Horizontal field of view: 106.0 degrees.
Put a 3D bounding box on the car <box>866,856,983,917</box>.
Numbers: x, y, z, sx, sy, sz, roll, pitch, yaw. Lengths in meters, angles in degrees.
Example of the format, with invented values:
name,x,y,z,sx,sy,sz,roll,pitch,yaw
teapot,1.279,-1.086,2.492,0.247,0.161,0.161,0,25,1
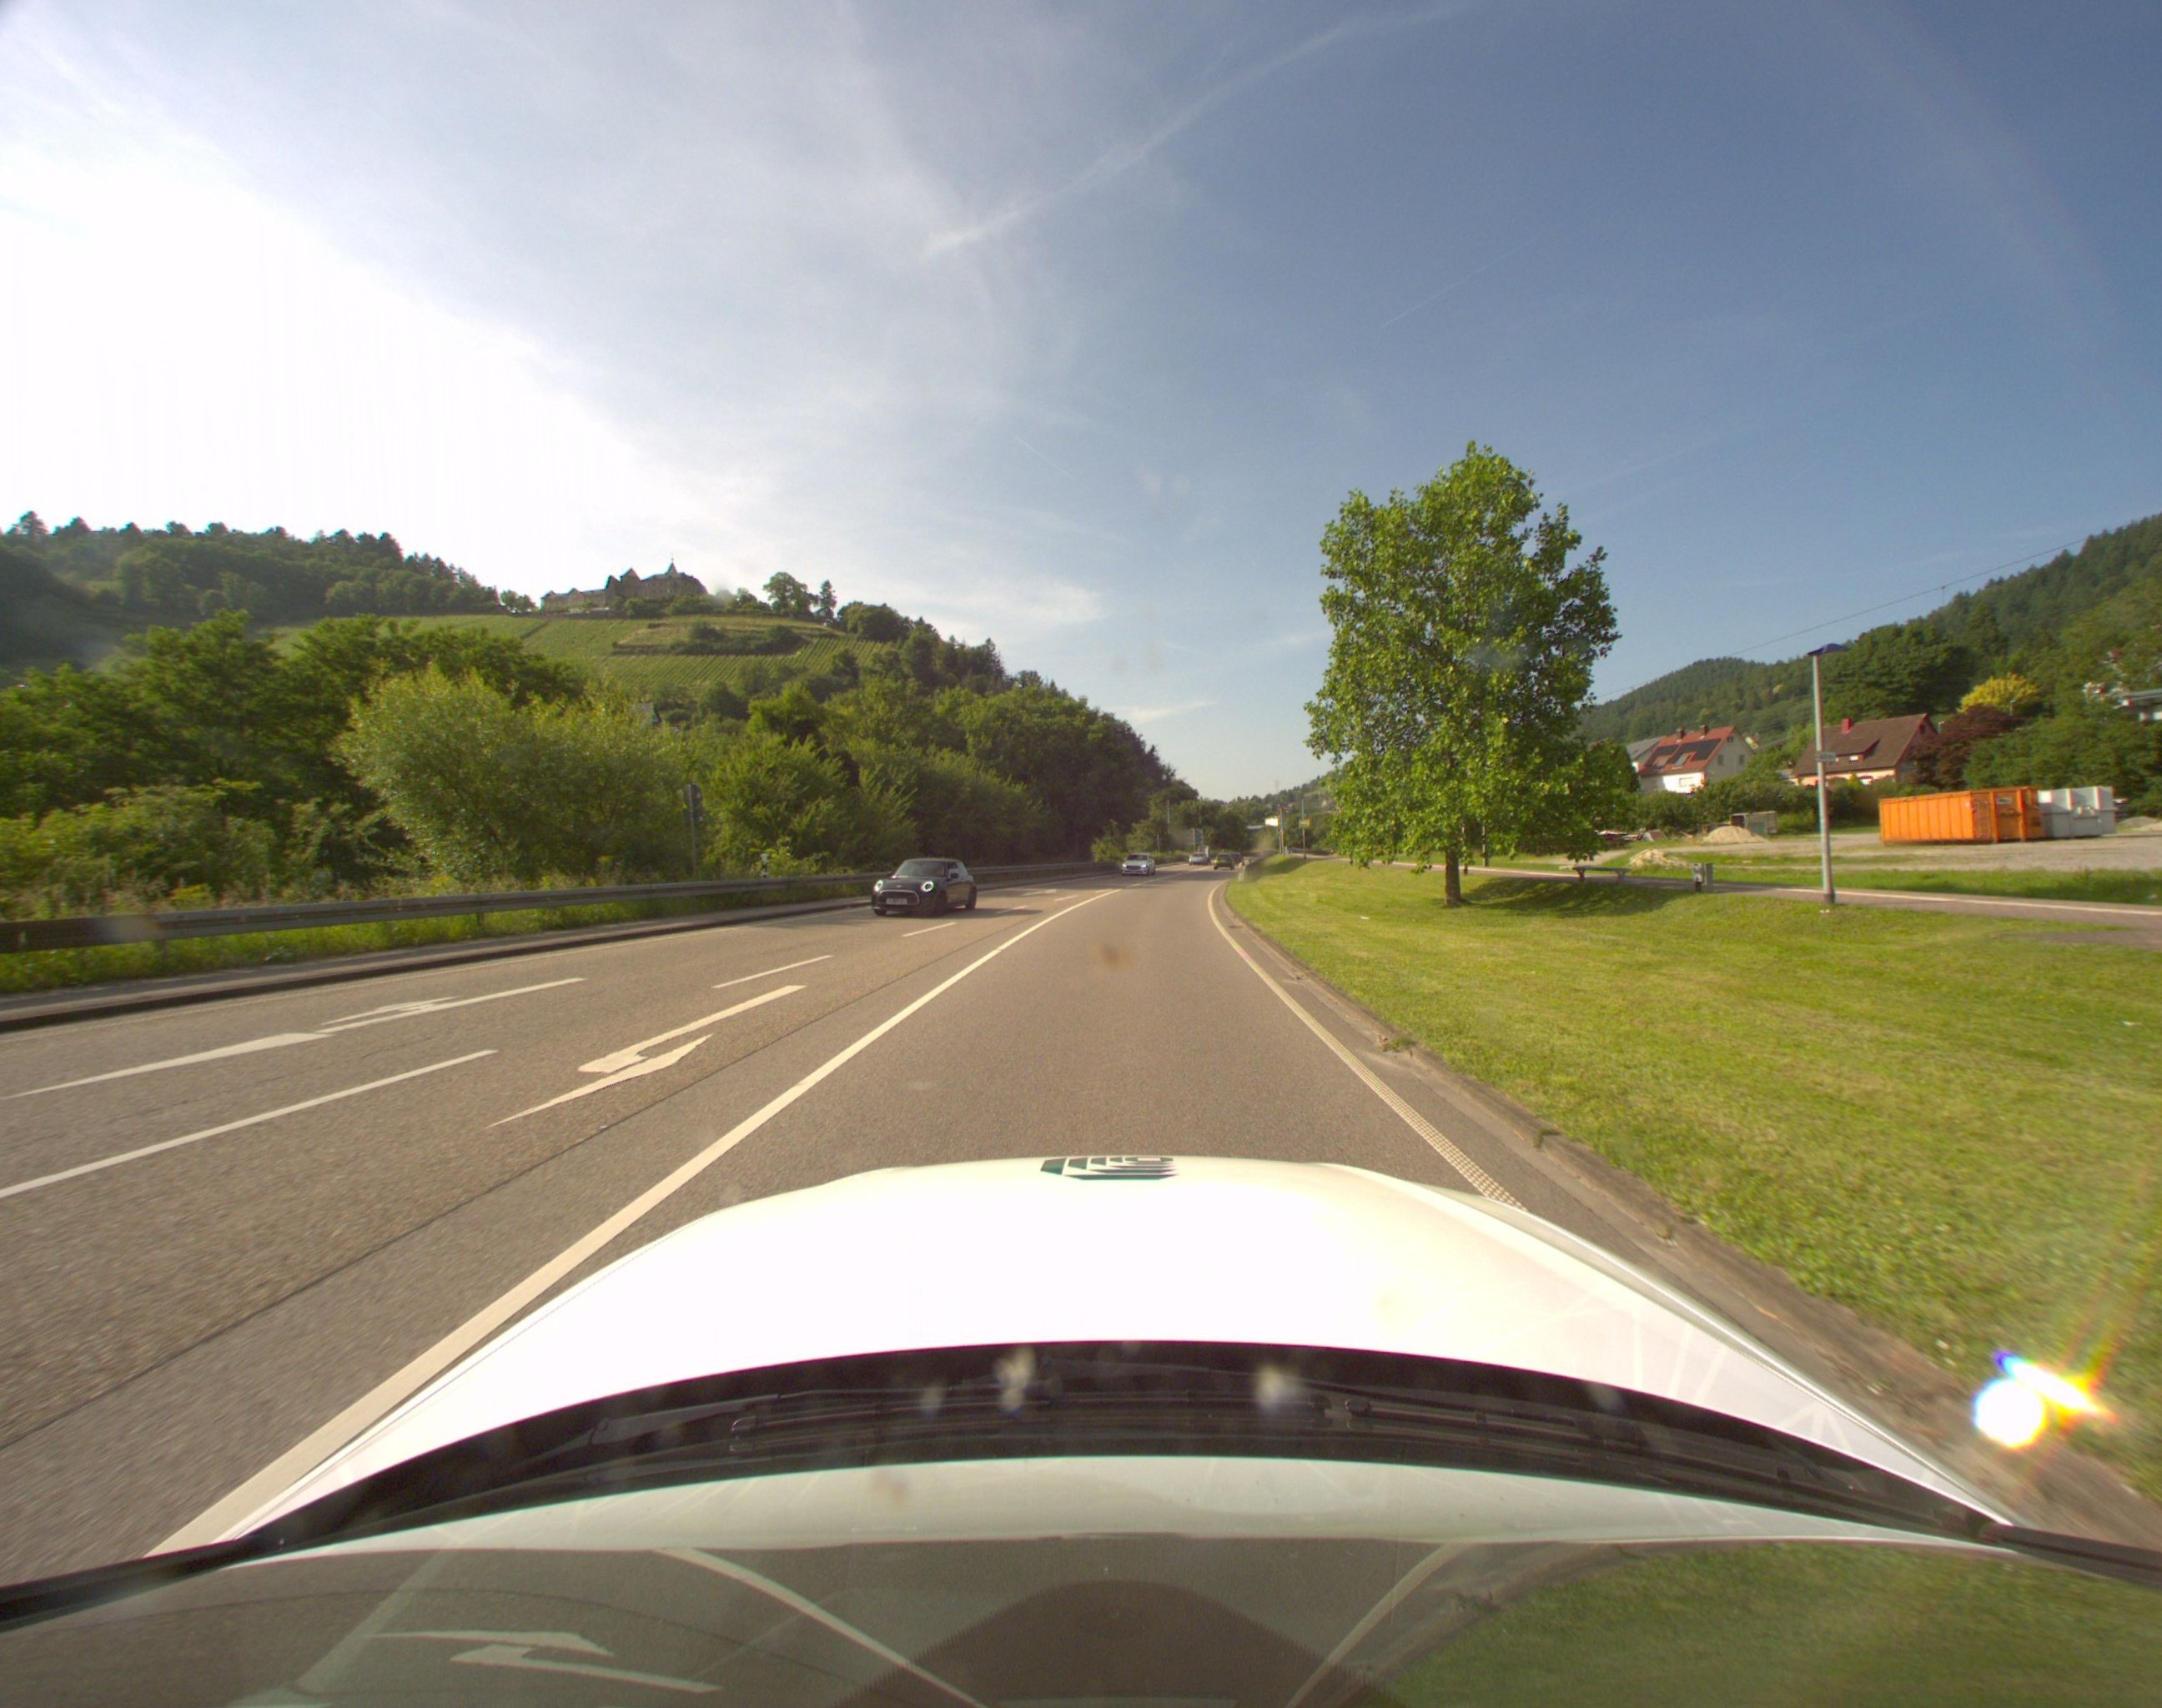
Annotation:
name,x,y,z,sx,sy,sz,roll,pitch,yaw
car,-3.944,0.772,21.199,1.684,1.402,4.211,0,0,8

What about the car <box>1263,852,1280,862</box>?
name,x,y,z,sx,sy,sz,roll,pitch,yaw
car,29.863,0.457,127.778,1.790,1.453,3.668,-3,0,25

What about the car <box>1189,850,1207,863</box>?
name,x,y,z,sx,sy,sz,roll,pitch,yaw
car,13.440,0.236,93.349,1.637,1.436,4.622,1,1,13

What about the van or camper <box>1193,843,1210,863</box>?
name,x,y,z,sx,sy,sz,roll,pitch,yaw
van or camper,14.438,-0.133,97.598,1.592,2.328,4.074,1,1,13

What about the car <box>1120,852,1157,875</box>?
name,x,y,z,sx,sy,sz,roll,pitch,yaw
car,3.991,0.641,55.967,1.932,1.486,4.600,0,0,12

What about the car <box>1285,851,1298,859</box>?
name,x,y,z,sx,sy,sz,roll,pitch,yaw
car,38.685,0.123,149.619,1.792,1.408,3.794,-3,0,23

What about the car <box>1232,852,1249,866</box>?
name,x,y,z,sx,sy,sz,roll,pitch,yaw
car,18.625,0.565,95.266,1.828,1.459,3.725,-2,0,12

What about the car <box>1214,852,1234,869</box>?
name,x,y,z,sx,sy,sz,roll,pitch,yaw
car,13.020,0.585,74.236,1.718,1.457,3.420,-2,0,10
